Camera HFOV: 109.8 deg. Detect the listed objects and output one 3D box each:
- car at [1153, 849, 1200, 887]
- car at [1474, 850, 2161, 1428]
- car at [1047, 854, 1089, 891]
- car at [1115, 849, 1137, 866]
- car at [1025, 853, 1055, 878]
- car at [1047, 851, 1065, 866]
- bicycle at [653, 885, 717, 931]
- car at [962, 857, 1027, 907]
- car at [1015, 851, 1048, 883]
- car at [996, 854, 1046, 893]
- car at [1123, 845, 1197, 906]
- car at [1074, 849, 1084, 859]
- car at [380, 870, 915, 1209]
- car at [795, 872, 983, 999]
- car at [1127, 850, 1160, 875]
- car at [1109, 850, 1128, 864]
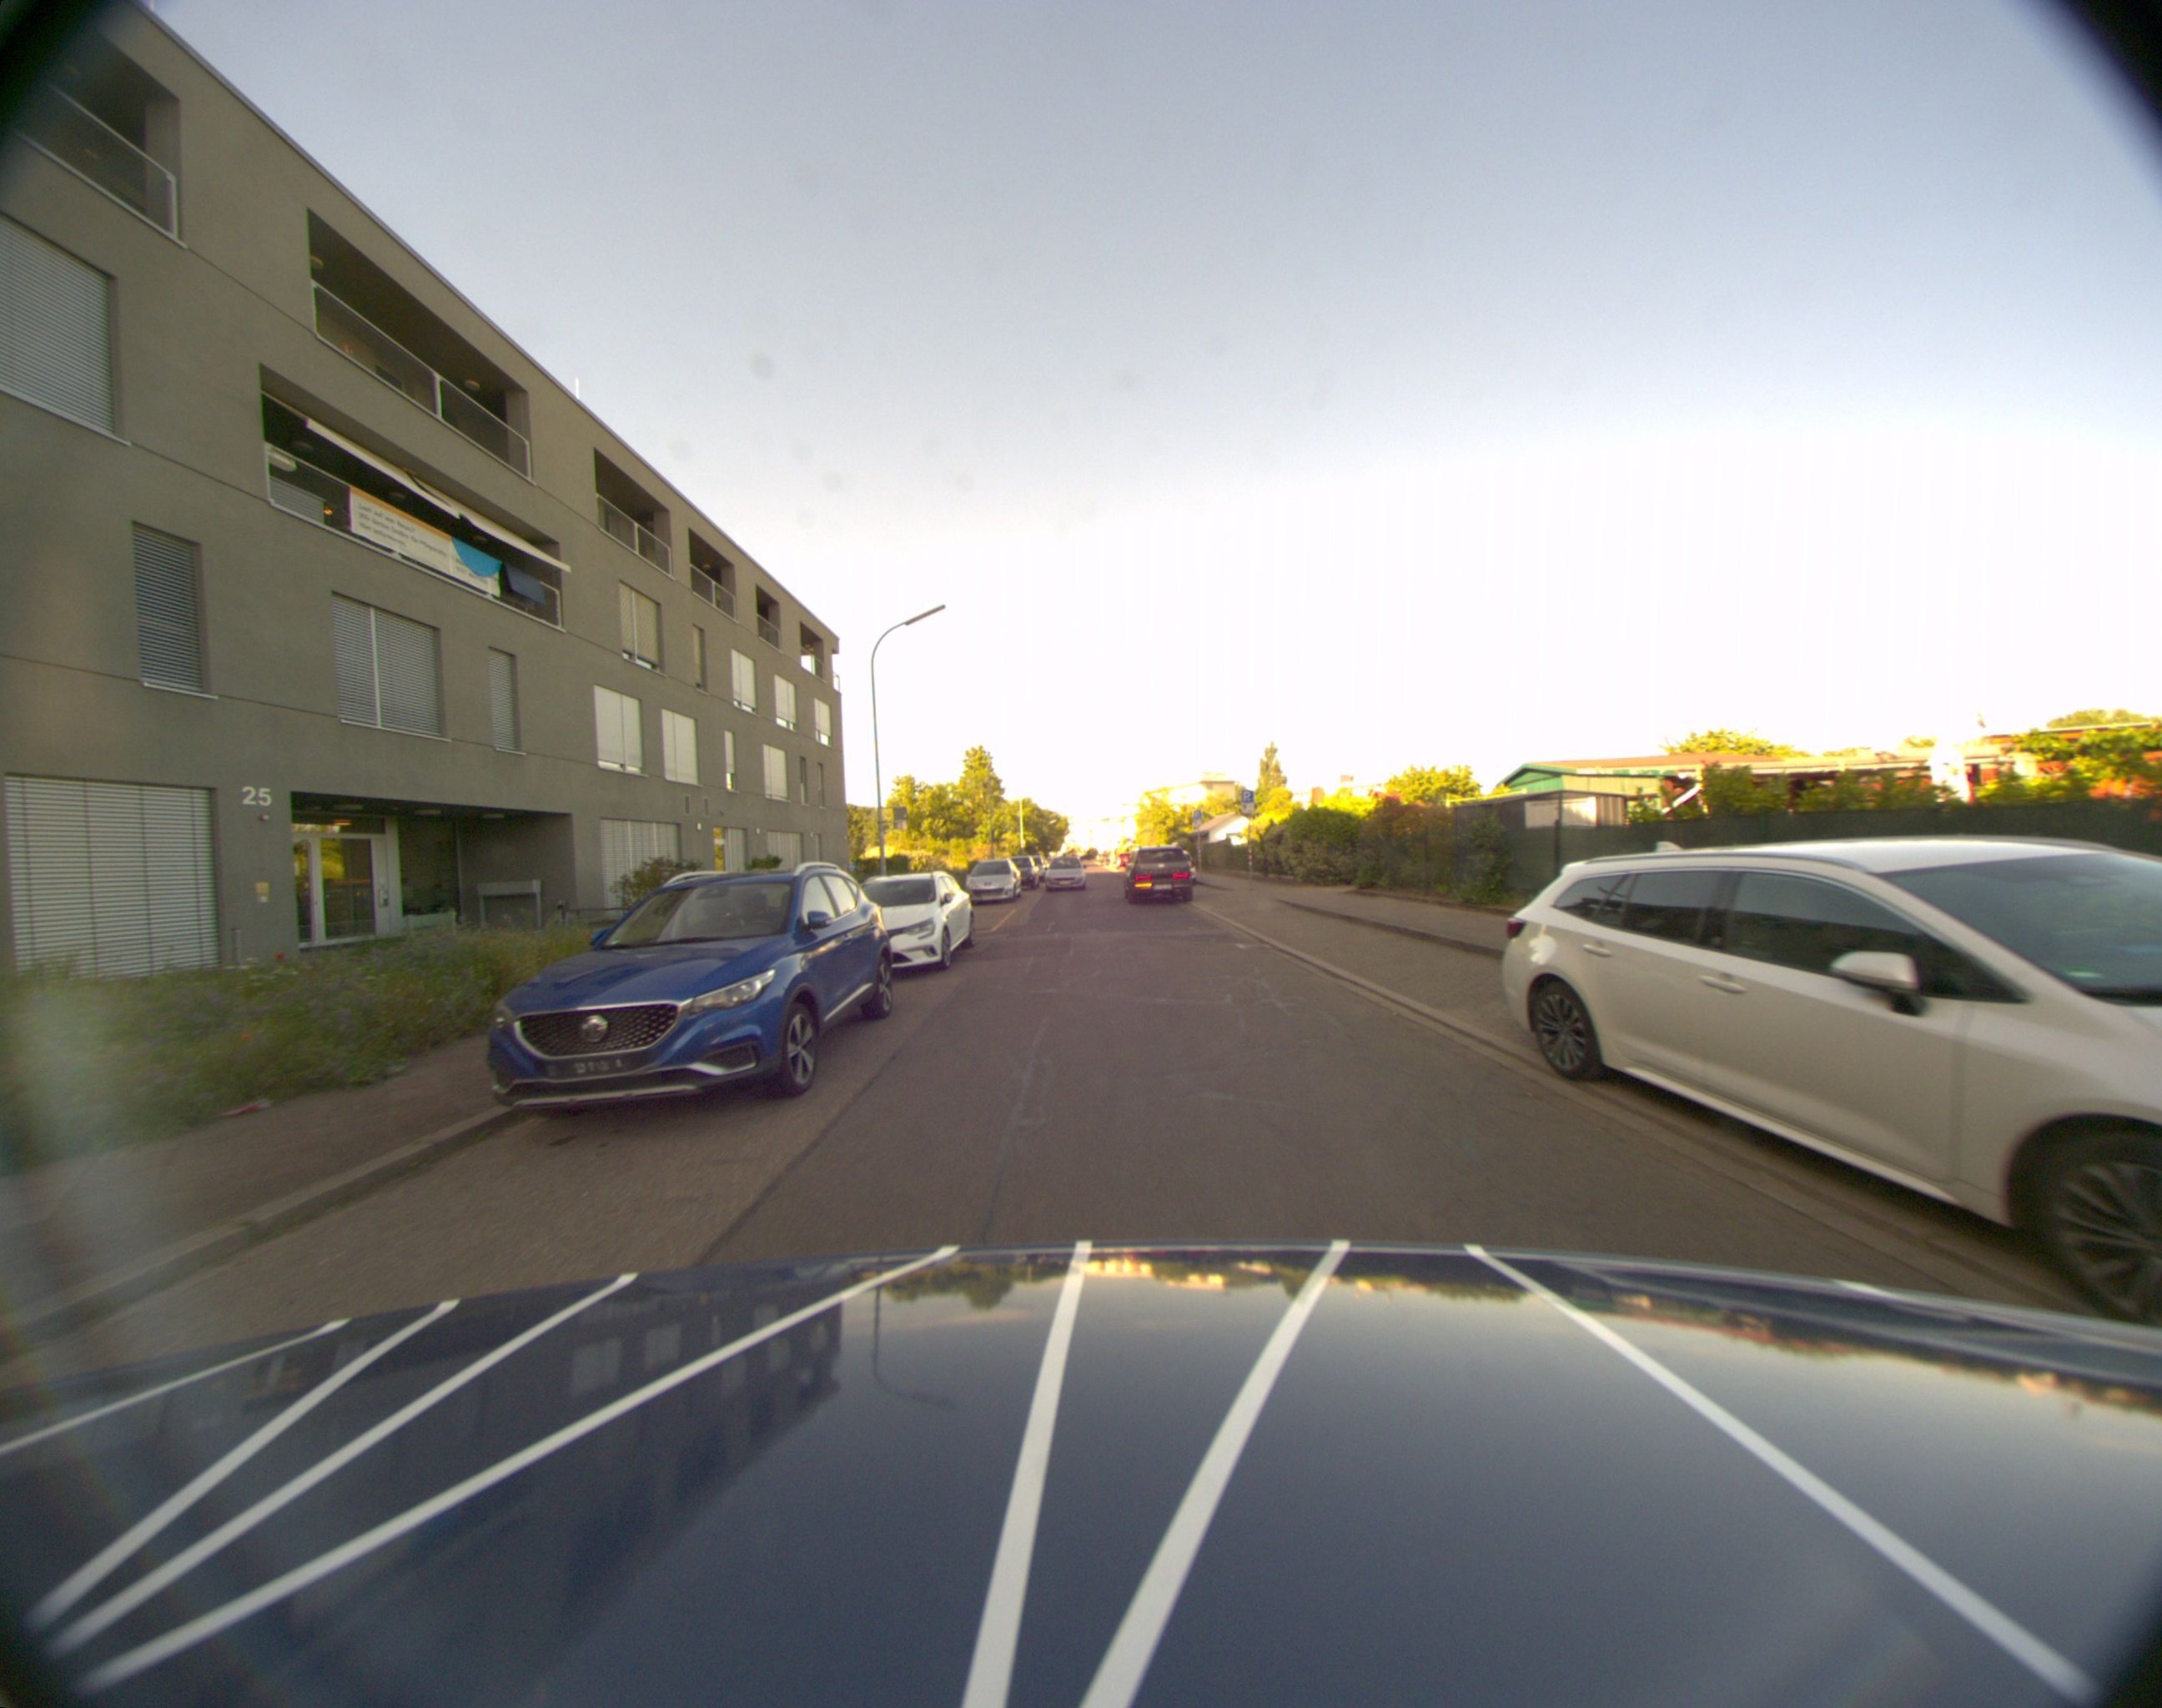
[{"bbox_3d":[4.056,0.575,32.742,1.531,1.479,3.401,-3,0,0],"label":"car"},{"bbox_3d":[3.815,0.788,3.318,1.751,1.437,4.541,-6,0,0],"label":"car"},{"bbox_3d":[-0.525,0.778,33.436,1.679,1.440,4.000,-3,0,1],"label":"car"},{"bbox_3d":[4.015,0.333,68.641,1.700,1.421,4.385,-3,0,0],"label":"car"},{"bbox_3d":[-2.753,0.765,51.710,1.711,1.517,3.093,-5,0,1],"label":"car"},{"bbox_3d":[-2.842,0.511,87.248,1.873,1.517,4.155,-3,0,1],"label":"car"},{"bbox_3d":[-10.524,1.403,20.256,0.553,1.055,1.842,-3,0,4],"label":"bicycle"},{"bbox_3d":[-3.033,0.934,27.461,1.711,1.517,4.155,-4,0,1],"label":"car"},{"bbox_3d":[-3.021,0.755,46.866,1.711,1.695,4.349,-5,0,-1],"label":"car"},{"bbox_3d":[-2.793,0.875,36.496,1.749,1.557,4.803,-4,0,2],"label":"car"},{"bbox_3d":[2.391,0.608,24.075,1.947,1.717,4.838,-1,0,1],"label":"car"},{"bbox_3d":[-0.479,-0.098,163.387,1.998,2.002,4.000,-3,0,0],"label":"car"},{"bbox_3d":[-2.856,1.057,6.449,1.822,1.590,4.626,-5,0,-1],"label":"car"},{"bbox_3d":[-2.831,1.129,12.352,1.749,1.421,4.585,-5,0,1],"label":"car"},{"bbox_3d":[4.124,0.539,50.562,1.700,1.415,4.516,-5,0,0],"label":"car"},{"bbox_3d":[3.865,0.277,78.606,1.700,1.361,3.910,-3,0,0],"label":"car"}]
